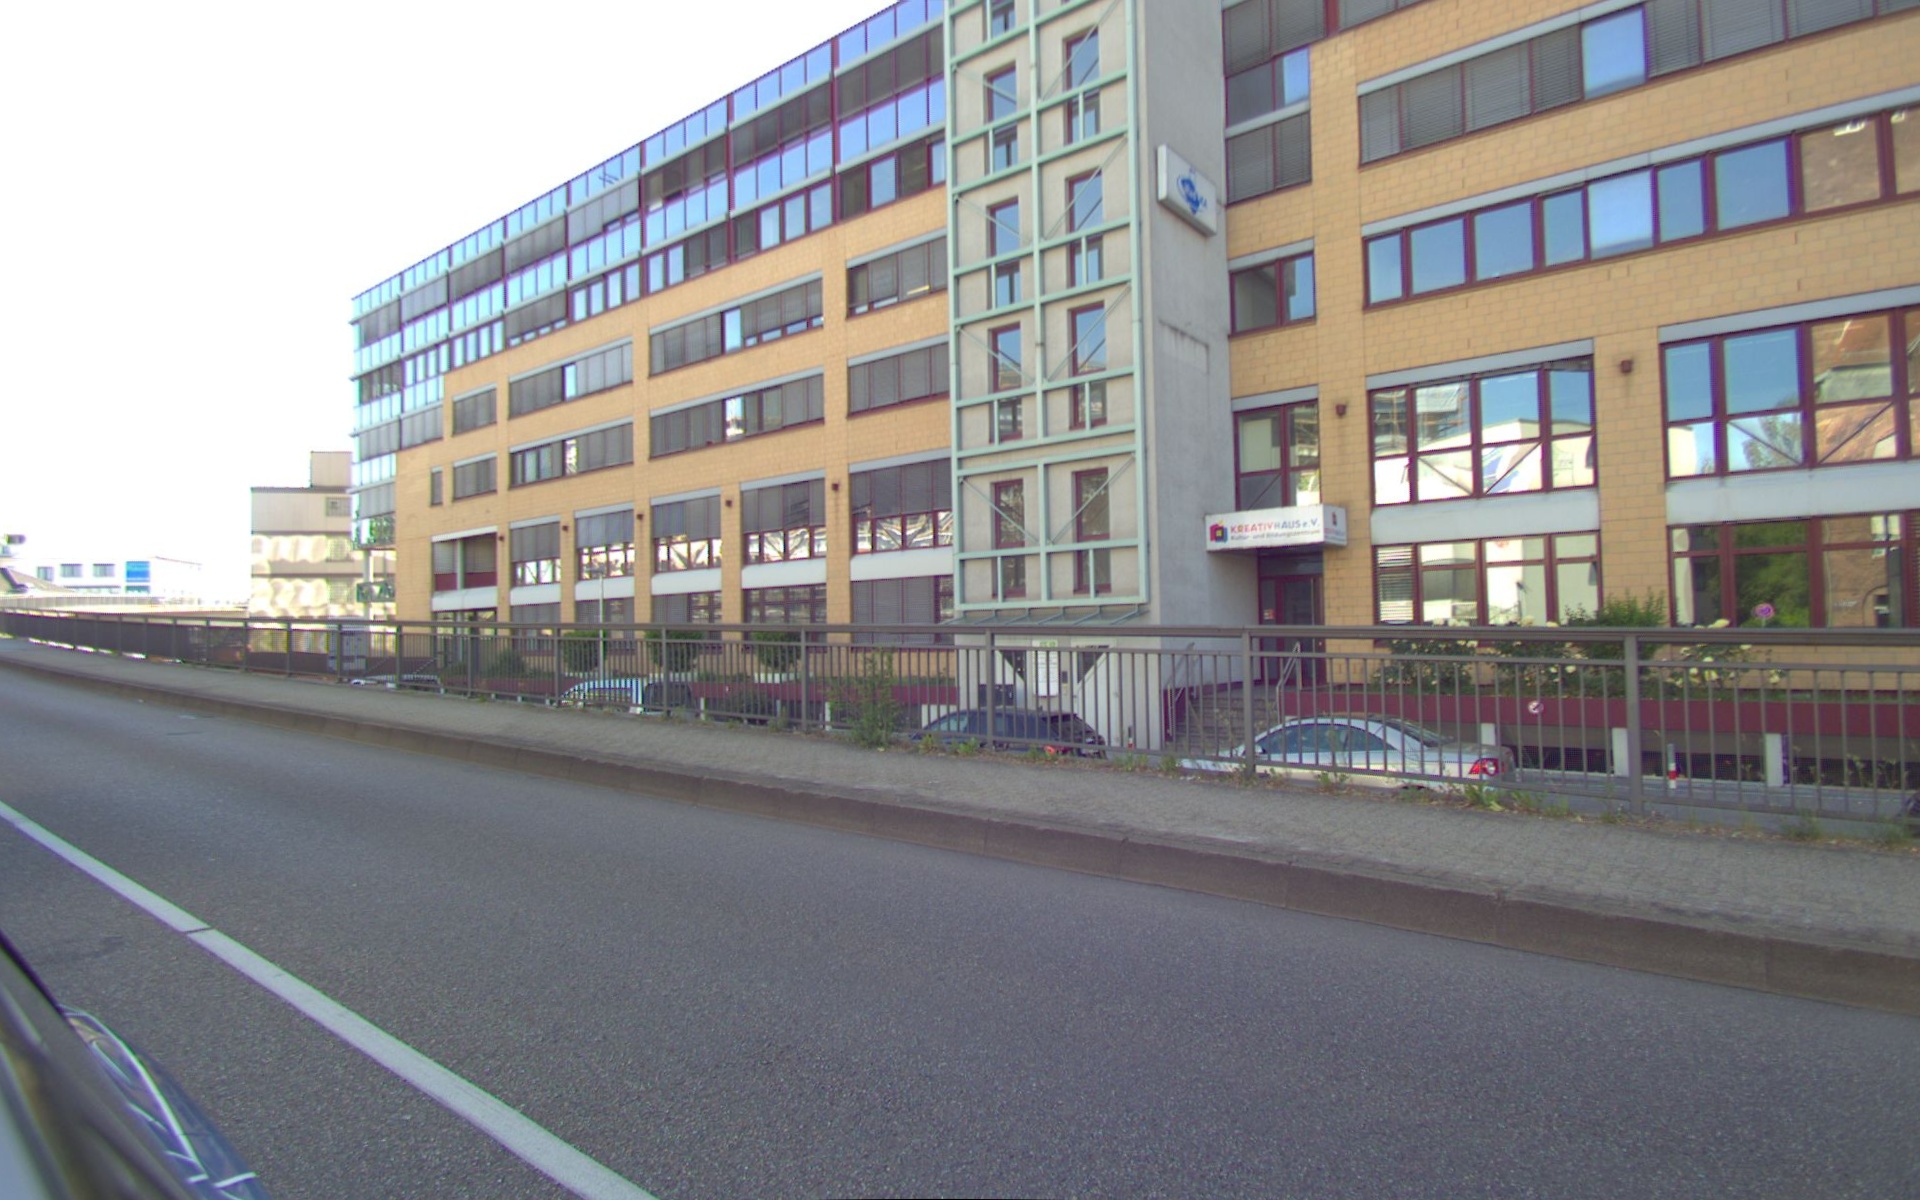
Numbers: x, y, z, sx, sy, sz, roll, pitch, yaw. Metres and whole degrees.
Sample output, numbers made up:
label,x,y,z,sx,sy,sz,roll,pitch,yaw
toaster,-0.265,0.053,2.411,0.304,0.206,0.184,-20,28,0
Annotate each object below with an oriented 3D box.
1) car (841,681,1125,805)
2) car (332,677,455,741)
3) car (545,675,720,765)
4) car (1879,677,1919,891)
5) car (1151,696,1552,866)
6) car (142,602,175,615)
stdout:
label,x,y,z,sx,sy,sz,roll,pitch,yaw
car,0.277,2.171,16.277,4.351,1.616,1.802,-3,-3,38
car,-16.867,3.168,30.067,3.998,1.675,1.973,-3,-4,41
car,-7.406,2.596,22.743,3.998,1.737,1.973,-3,-4,41
car,10.665,1.562,8.067,4.679,1.771,1.933,-3,-2,37
car,4.794,2.101,12.741,4.351,1.616,1.802,-3,-3,38
car,-85.006,0.945,107.389,1.671,1.344,4.013,0,-1,-21
